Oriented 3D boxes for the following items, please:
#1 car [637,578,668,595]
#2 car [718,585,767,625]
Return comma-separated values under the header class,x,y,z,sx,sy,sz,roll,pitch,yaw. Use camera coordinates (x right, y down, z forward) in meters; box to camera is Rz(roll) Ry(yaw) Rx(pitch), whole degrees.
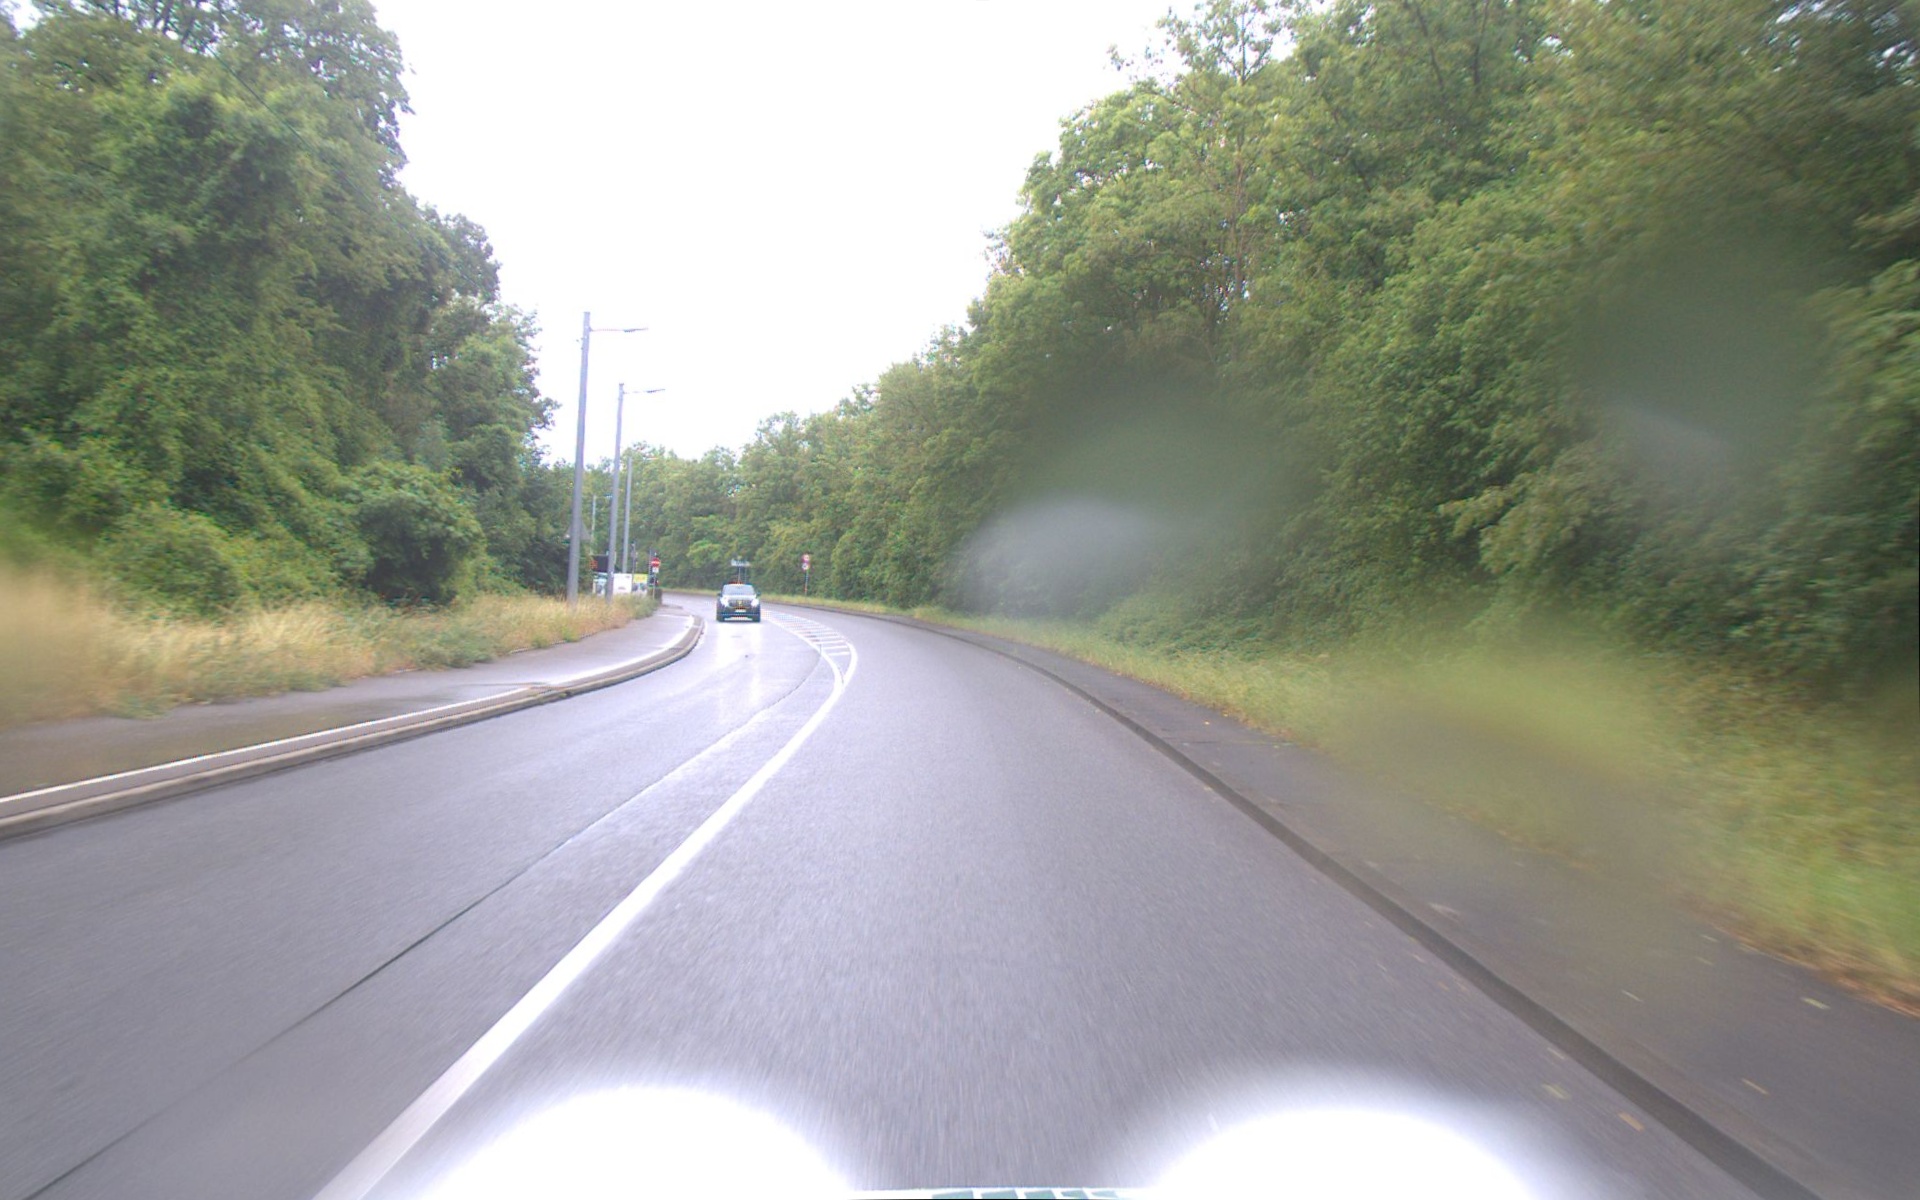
class,x,y,z,sx,sy,sz,roll,pitch,yaw
car,-32.396,-1.416,174.227,1.851,1.623,3.954,1,3,-34
car,-10.464,0.208,79.296,1.958,1.818,4.694,1,0,-12
